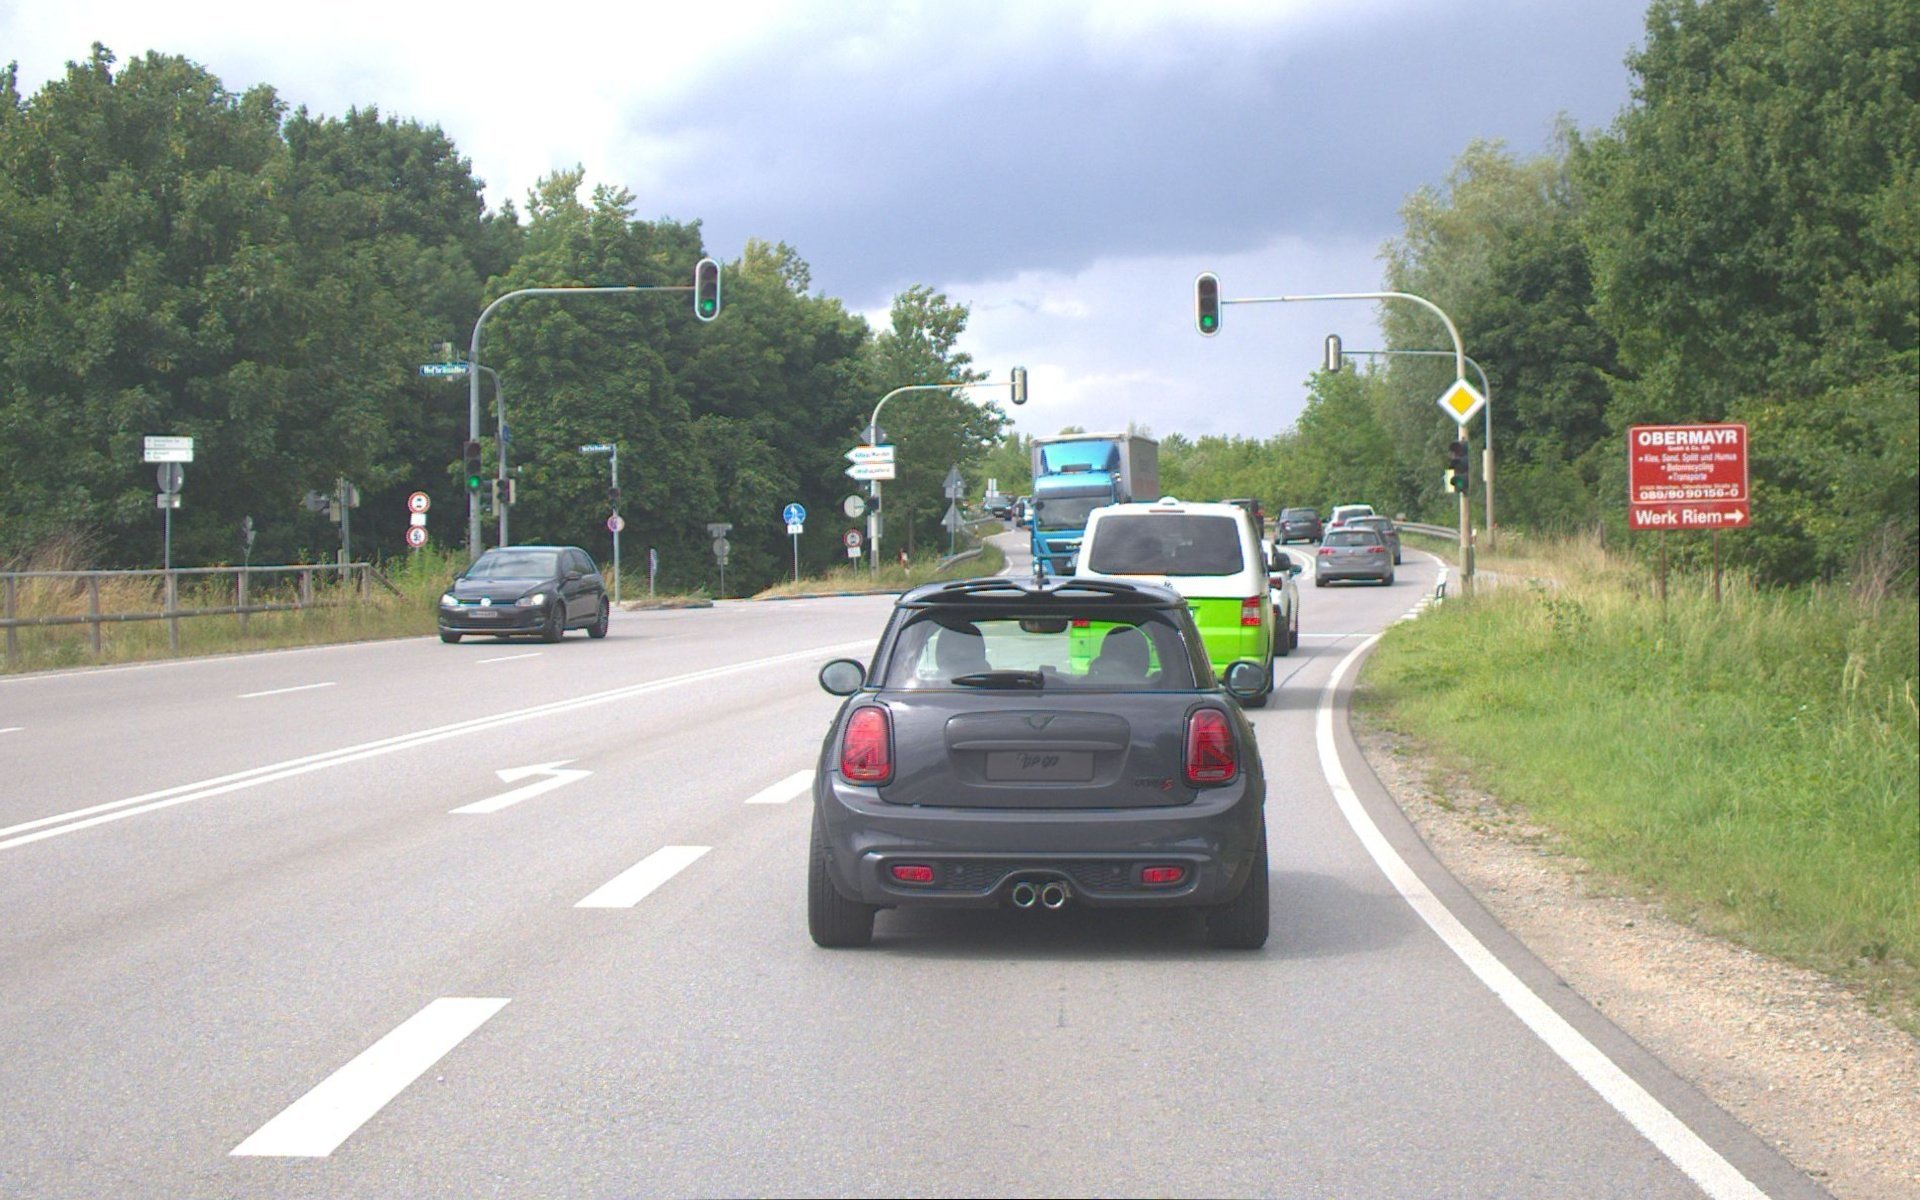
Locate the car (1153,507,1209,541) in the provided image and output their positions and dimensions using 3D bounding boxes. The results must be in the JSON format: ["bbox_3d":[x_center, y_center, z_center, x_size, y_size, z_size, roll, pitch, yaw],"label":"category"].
[{"bbox_3d":[11.034,-3.787,172.010,1.993,1.690,4.487,0,1,-7],"label":"car"}]

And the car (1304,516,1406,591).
[{"bbox_3d":[9.553,-1.101,82.951,1.995,1.678,3.997,1,-1,13],"label":"car"}]

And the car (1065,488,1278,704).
[{"bbox_3d":[2.125,-0.090,33.651,1.845,1.980,3.840,0,1,7],"label":"car"}]

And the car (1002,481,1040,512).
[{"bbox_3d":[4.311,-7.335,243.740,2.180,2.007,4.001,0,-1,-6],"label":"car"}]

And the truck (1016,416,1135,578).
[{"bbox_3d":[3.016,-2.628,88.888,2.541,4.082,3.999,0,1,10],"label":"truck"}]

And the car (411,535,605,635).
[{"bbox_3d":[-6.717,-0.245,51.501,1.946,1.436,3.999,0,1,7],"label":"car"}]

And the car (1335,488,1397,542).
[{"bbox_3d":[13.996,-2.923,118.348,1.994,1.678,3.998,1,-1,8],"label":"car"}]

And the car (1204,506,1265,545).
[{"bbox_3d":[12.337,-3.346,154.816,1.993,1.690,4.487,0,1,-5],"label":"car"}]

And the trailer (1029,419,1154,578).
[{"bbox_3d":[3.573,-2.681,92.183,2.528,4.087,6.733,0,1,9],"label":"trailer"}]

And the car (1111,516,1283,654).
[{"bbox_3d":[3.089,-0.187,44.189,1.994,1.678,3.999,0,0,7],"label":"car"}]

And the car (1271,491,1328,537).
[{"bbox_3d":[13.703,-3.463,138.971,1.993,1.678,4.000,1,-1,1],"label":"car"}]

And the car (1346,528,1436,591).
[{"bbox_3d":[12.350,-1.138,98.363,1.995,1.678,3.974,1,-1,15],"label":"car"}]

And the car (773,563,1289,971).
[{"bbox_3d":[0.274,0.581,14.280,1.845,1.423,3.841,0,1,1],"label":"car"}]
